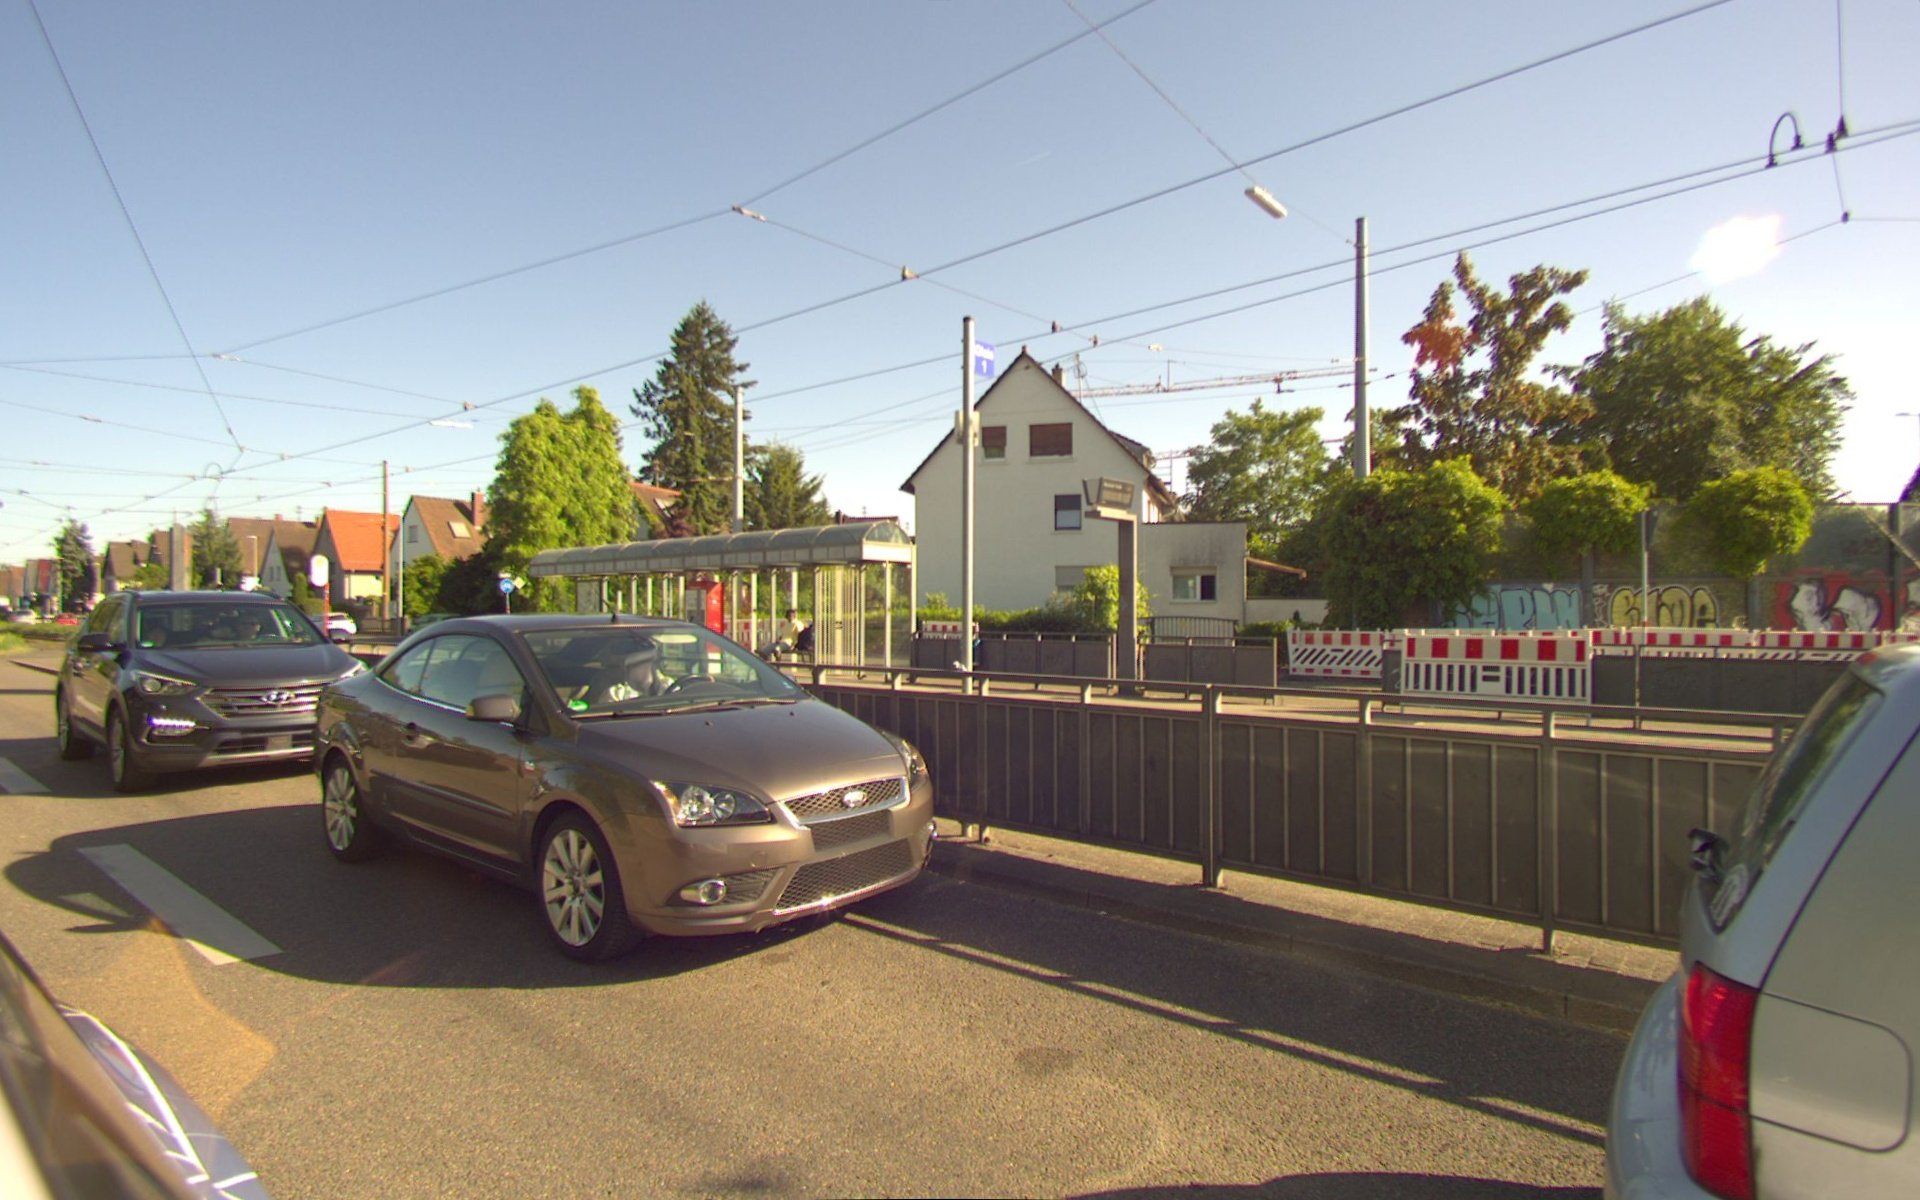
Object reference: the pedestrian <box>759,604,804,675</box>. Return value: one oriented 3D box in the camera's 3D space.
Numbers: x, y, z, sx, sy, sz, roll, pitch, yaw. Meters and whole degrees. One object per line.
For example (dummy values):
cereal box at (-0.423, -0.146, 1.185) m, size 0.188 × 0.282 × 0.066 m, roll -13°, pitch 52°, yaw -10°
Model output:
pedestrian at (-3.662, 0.796, 20.768) m, size 0.710 × 1.425 × 0.616 m, roll -1°, pitch -2°, yaw 39°

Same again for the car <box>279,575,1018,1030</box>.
car at (-1.895, 0.729, 5.442) m, size 4.189 × 1.546 × 1.733 m, roll -1°, pitch -1°, yaw 38°

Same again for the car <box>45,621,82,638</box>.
car at (-78.774, 2.604, 88.904) m, size 3.998 × 1.475 × 1.972 m, roll -1°, pitch -1°, yaw 42°

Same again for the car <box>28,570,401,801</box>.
car at (-7.171, 0.675, 9.580) m, size 4.296 × 1.709 × 1.862 m, roll -1°, pitch -1°, yaw 40°

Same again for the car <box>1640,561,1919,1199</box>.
car at (2.700, 0.673, 0.833) m, size 3.411 × 1.479 × 1.565 m, roll -1°, pitch -1°, yaw 40°

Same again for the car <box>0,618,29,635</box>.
car at (-100.486, 2.776, 107.445) m, size 3.998 × 1.785 × 1.972 m, roll -1°, pitch -1°, yaw 42°
